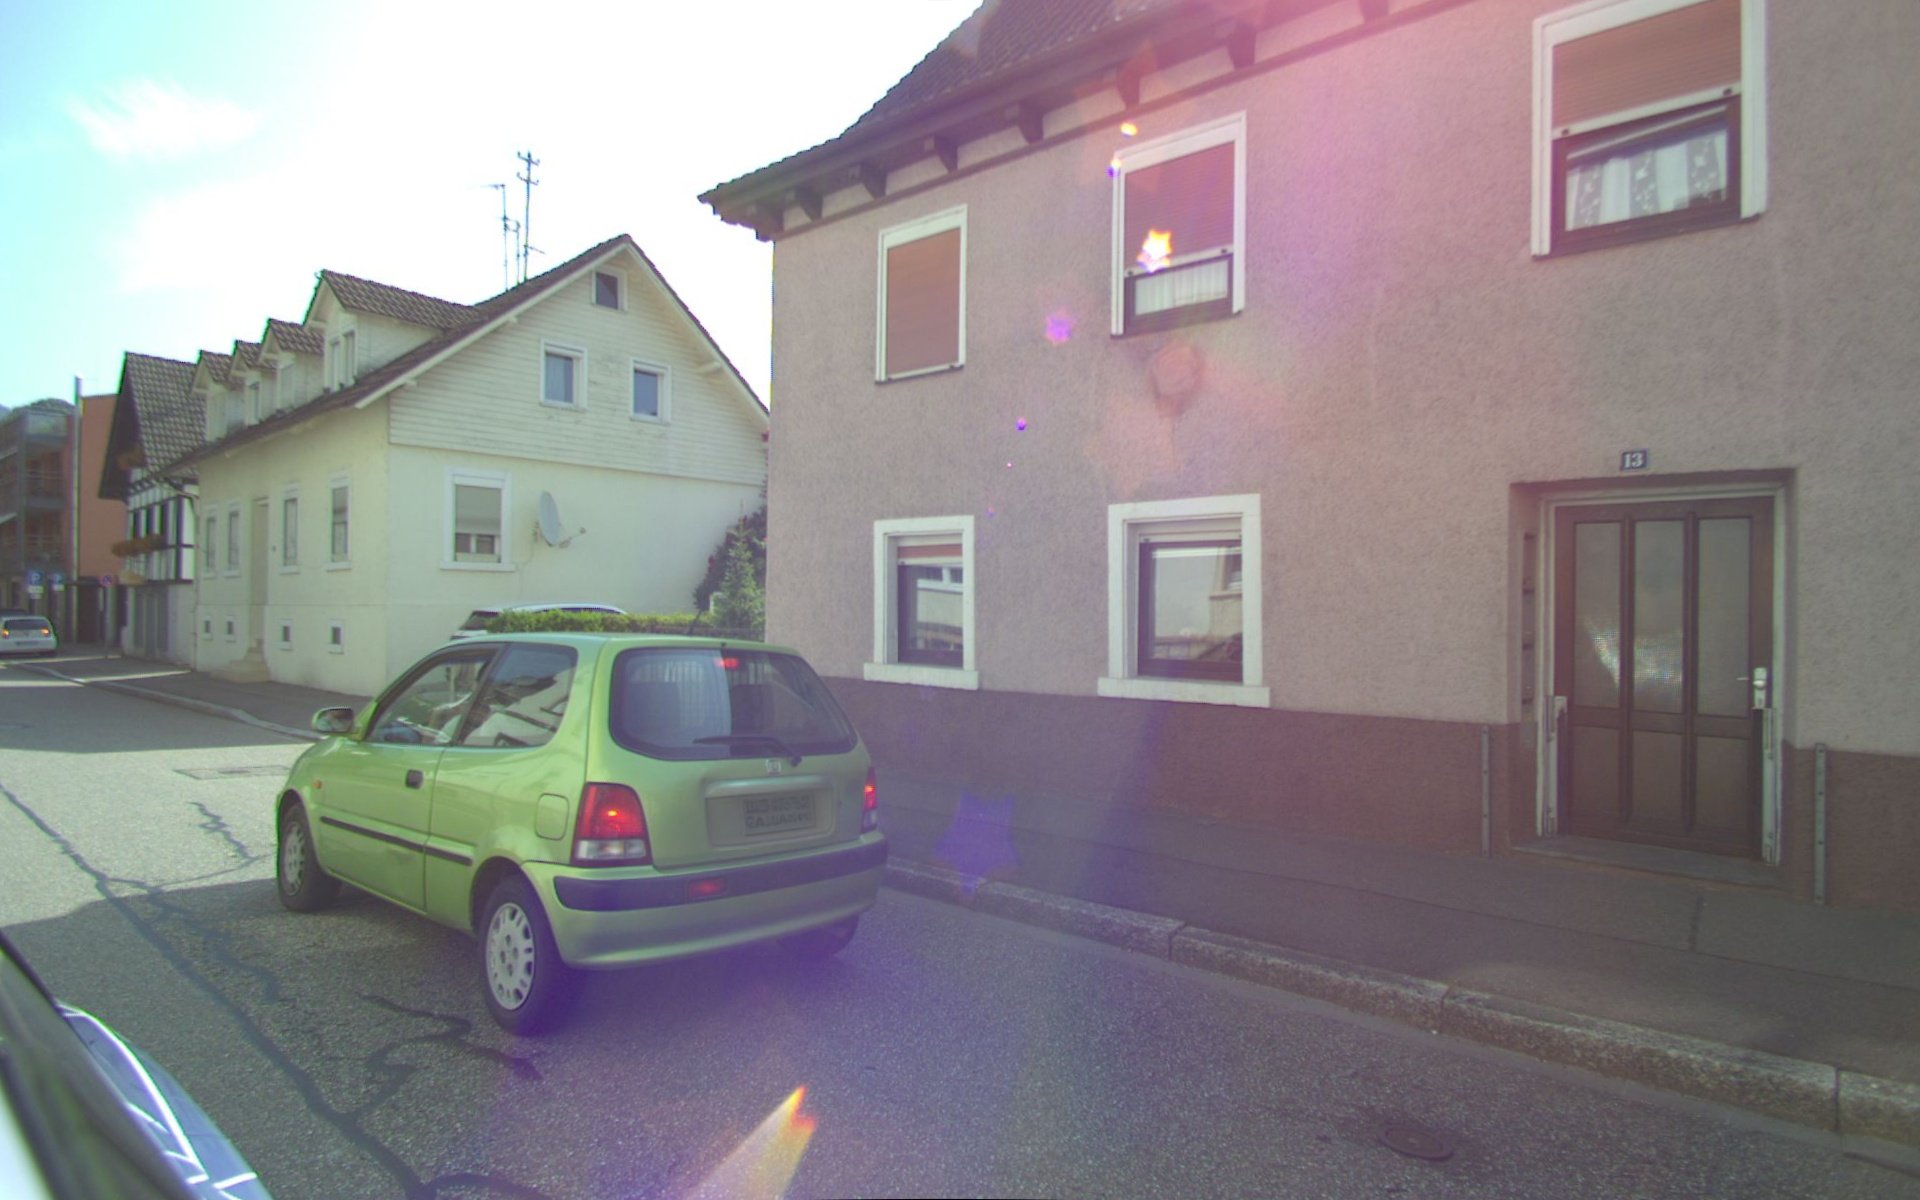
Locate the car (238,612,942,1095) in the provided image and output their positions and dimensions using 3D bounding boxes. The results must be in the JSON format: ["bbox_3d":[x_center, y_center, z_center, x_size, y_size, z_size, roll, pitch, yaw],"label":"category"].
[{"bbox_3d":[-1.994,0.863,4.938,3.657,1.475,1.580,-1,-5,41],"label":"car"}]

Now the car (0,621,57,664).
[{"bbox_3d":[-33.646,1.503,36.126,3.566,1.443,1.649,-2,-1,41],"label":"car"}]

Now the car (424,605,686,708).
[{"bbox_3d":[-7.133,0.914,18.137,1.905,1.606,3.949,-1,-1,38],"label":"car"}]

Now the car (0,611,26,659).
[{"bbox_3d":[-37.901,1.330,39.323,4.263,1.810,1.703,-1,-2,38],"label":"car"}]
